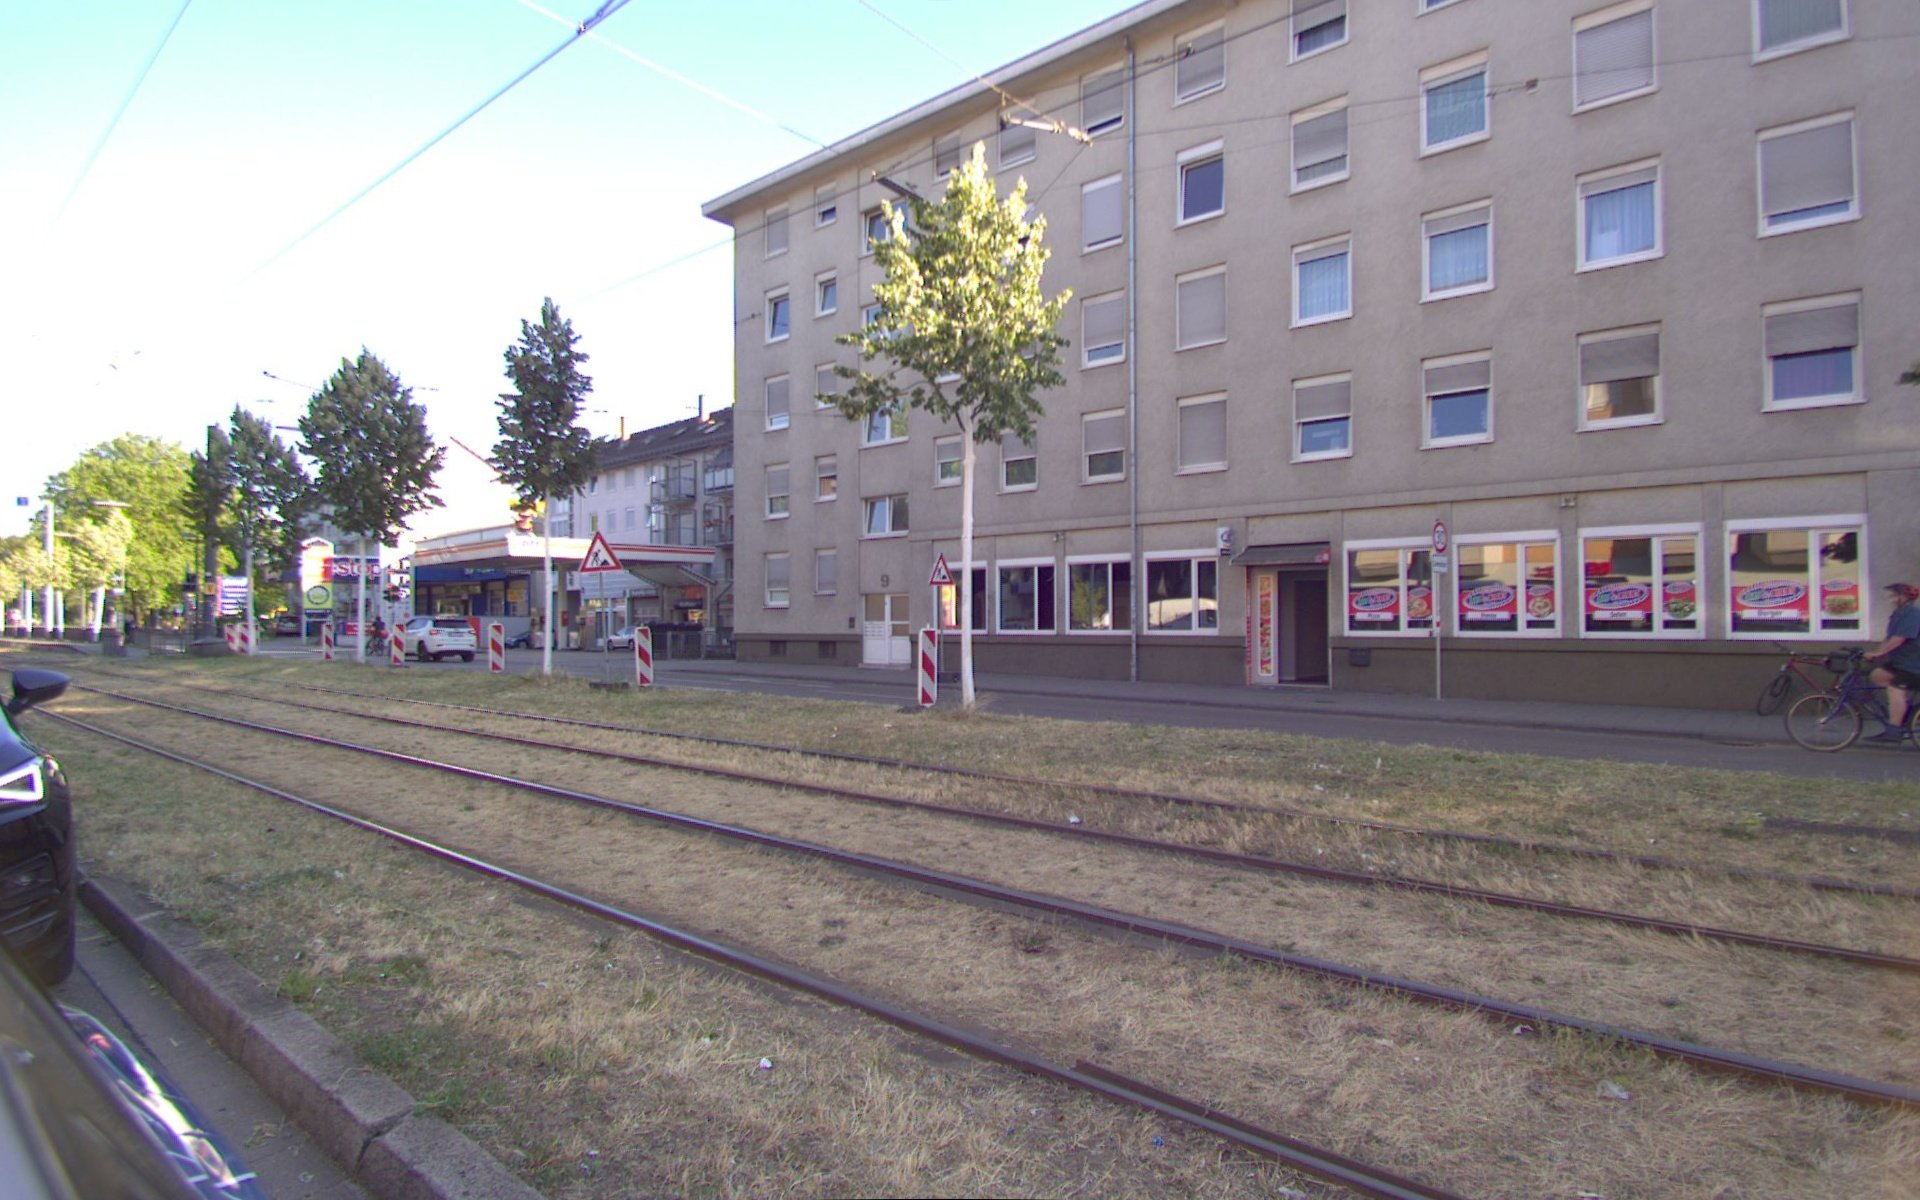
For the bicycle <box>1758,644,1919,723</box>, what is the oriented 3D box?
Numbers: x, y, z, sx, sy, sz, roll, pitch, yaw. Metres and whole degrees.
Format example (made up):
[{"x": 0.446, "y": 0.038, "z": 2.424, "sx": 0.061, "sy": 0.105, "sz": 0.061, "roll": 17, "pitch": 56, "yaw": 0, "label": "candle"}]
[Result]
[{"x": 12.795, "y": 1.190, "z": 14.710, "sx": 1.844, "sy": 1.031, "sz": 0.601, "roll": -1, "pitch": 0, "yaw": 41, "label": "bicycle"}]

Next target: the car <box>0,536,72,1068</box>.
[{"x": -5.018, "y": 0.673, "z": 4.008, "sx": 3.998, "sy": 1.690, "sz": 1.752, "roll": -1, "pitch": -1, "yaw": 41, "label": "car"}]

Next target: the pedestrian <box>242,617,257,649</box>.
[{"x": -45.210, "y": 2.106, "z": 64.403, "sx": 0.583, "sy": 2.029, "sz": 0.623, "roll": -2, "pitch": -2, "yaw": 42, "label": "pedestrian"}]

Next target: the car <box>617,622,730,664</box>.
[{"x": -10.731, "y": 1.610, "z": 38.101, "sx": 1.906, "sy": 1.481, "sz": 3.680, "roll": -4, "pitch": -4, "yaw": 40, "label": "car"}]

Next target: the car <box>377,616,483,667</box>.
[{"x": -19.380, "y": 1.467, "z": 36.967, "sx": 4.391, "sy": 1.748, "sz": 1.973, "roll": -1, "pitch": -2, "yaw": 41, "label": "car"}]

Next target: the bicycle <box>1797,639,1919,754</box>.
[{"x": 10.710, "y": 1.077, "z": 11.447, "sx": 1.870, "sy": 1.267, "sz": 0.450, "roll": -3, "pitch": -2, "yaw": 42, "label": "bicycle"}]

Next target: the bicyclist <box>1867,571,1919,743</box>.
[{"x": 10.808, "y": 0.635, "z": 11.411, "sx": 0.809, "sy": 1.897, "sz": 0.644, "roll": -2, "pitch": -3, "yaw": 42, "label": "bicyclist"}]

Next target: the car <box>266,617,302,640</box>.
[{"x": -49.974, "y": 2.098, "z": 74.796, "sx": 1.756, "sy": 1.567, "sz": 4.006, "roll": -1, "pitch": 0, "yaw": -40, "label": "car"}]

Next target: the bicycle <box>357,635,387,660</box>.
[{"x": -25.491, "y": 2.048, "z": 43.867, "sx": 1.858, "sy": 1.052, "sz": 0.441, "roll": -1, "pitch": -2, "yaw": 39, "label": "bicycle"}]

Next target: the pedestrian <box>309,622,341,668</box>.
[{"x": -18.308, "y": 1.295, "z": 29.181, "sx": 0.581, "sy": 1.280, "sz": 0.655, "roll": -3, "pitch": -1, "yaw": 42, "label": "pedestrian"}]

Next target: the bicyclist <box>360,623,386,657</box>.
[{"x": -25.393, "y": 1.743, "z": 43.788, "sx": 0.649, "sy": 1.457, "sz": 0.770, "roll": -1, "pitch": -2, "yaw": 38, "label": "bicyclist"}]
